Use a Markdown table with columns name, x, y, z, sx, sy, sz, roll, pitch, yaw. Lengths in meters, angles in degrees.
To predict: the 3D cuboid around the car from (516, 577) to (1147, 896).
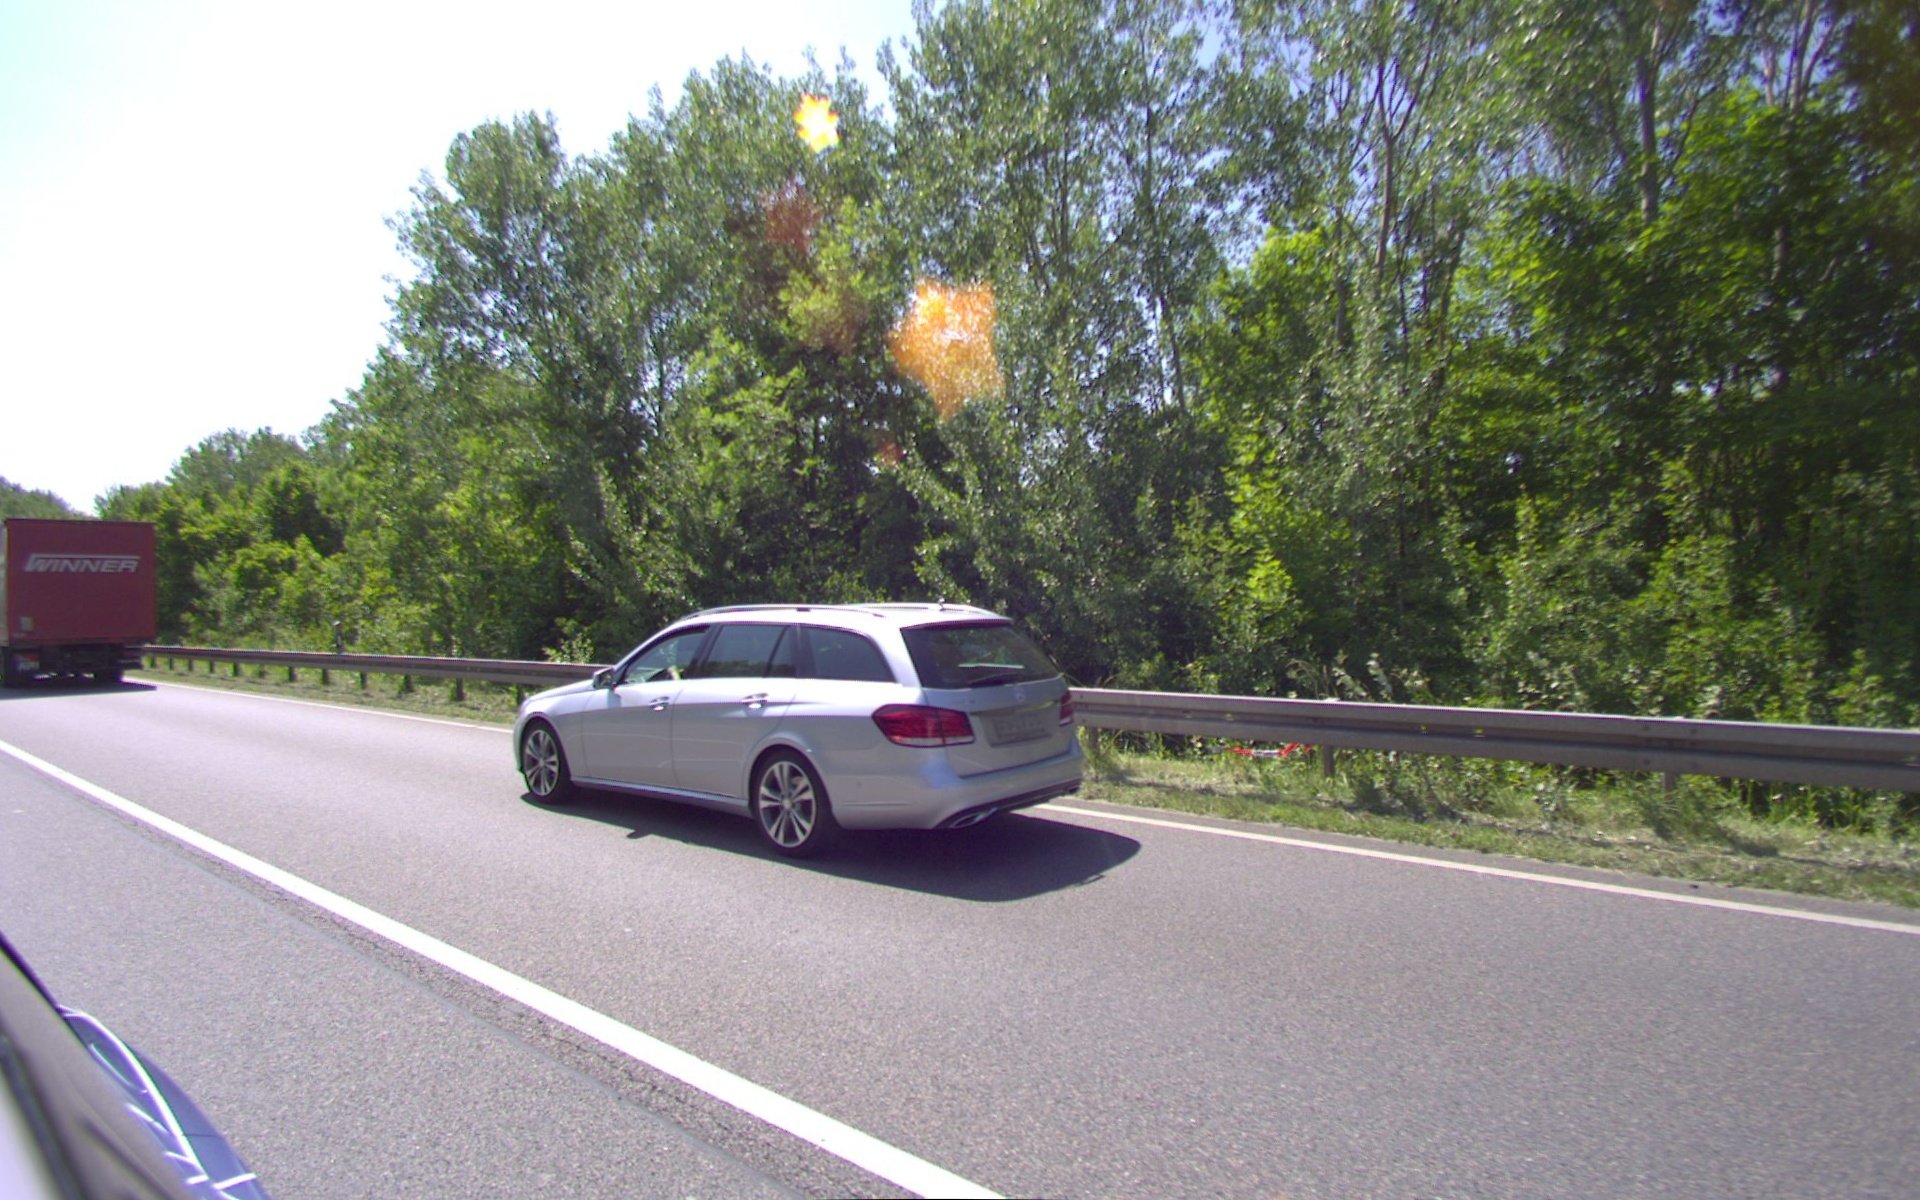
| name | x | y | z | sx | sy | sz | roll | pitch | yaw |
| --- | --- | --- | --- | --- | --- | --- | --- | --- | --- |
| car | -1.137 | 0.697 | 7.107 | 4.523 | 1.558 | 1.800 | -1 | -1 | 40 |

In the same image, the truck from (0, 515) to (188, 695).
| name | x | y | z | sx | sy | sz | roll | pitch | yaw |
| --- | --- | --- | --- | --- | --- | --- | --- | --- | --- |
| truck | -22.248 | 0.183 | 25.021 | 8.999 | 3.728 | 3.159 | -2 | -1 | 40 |
